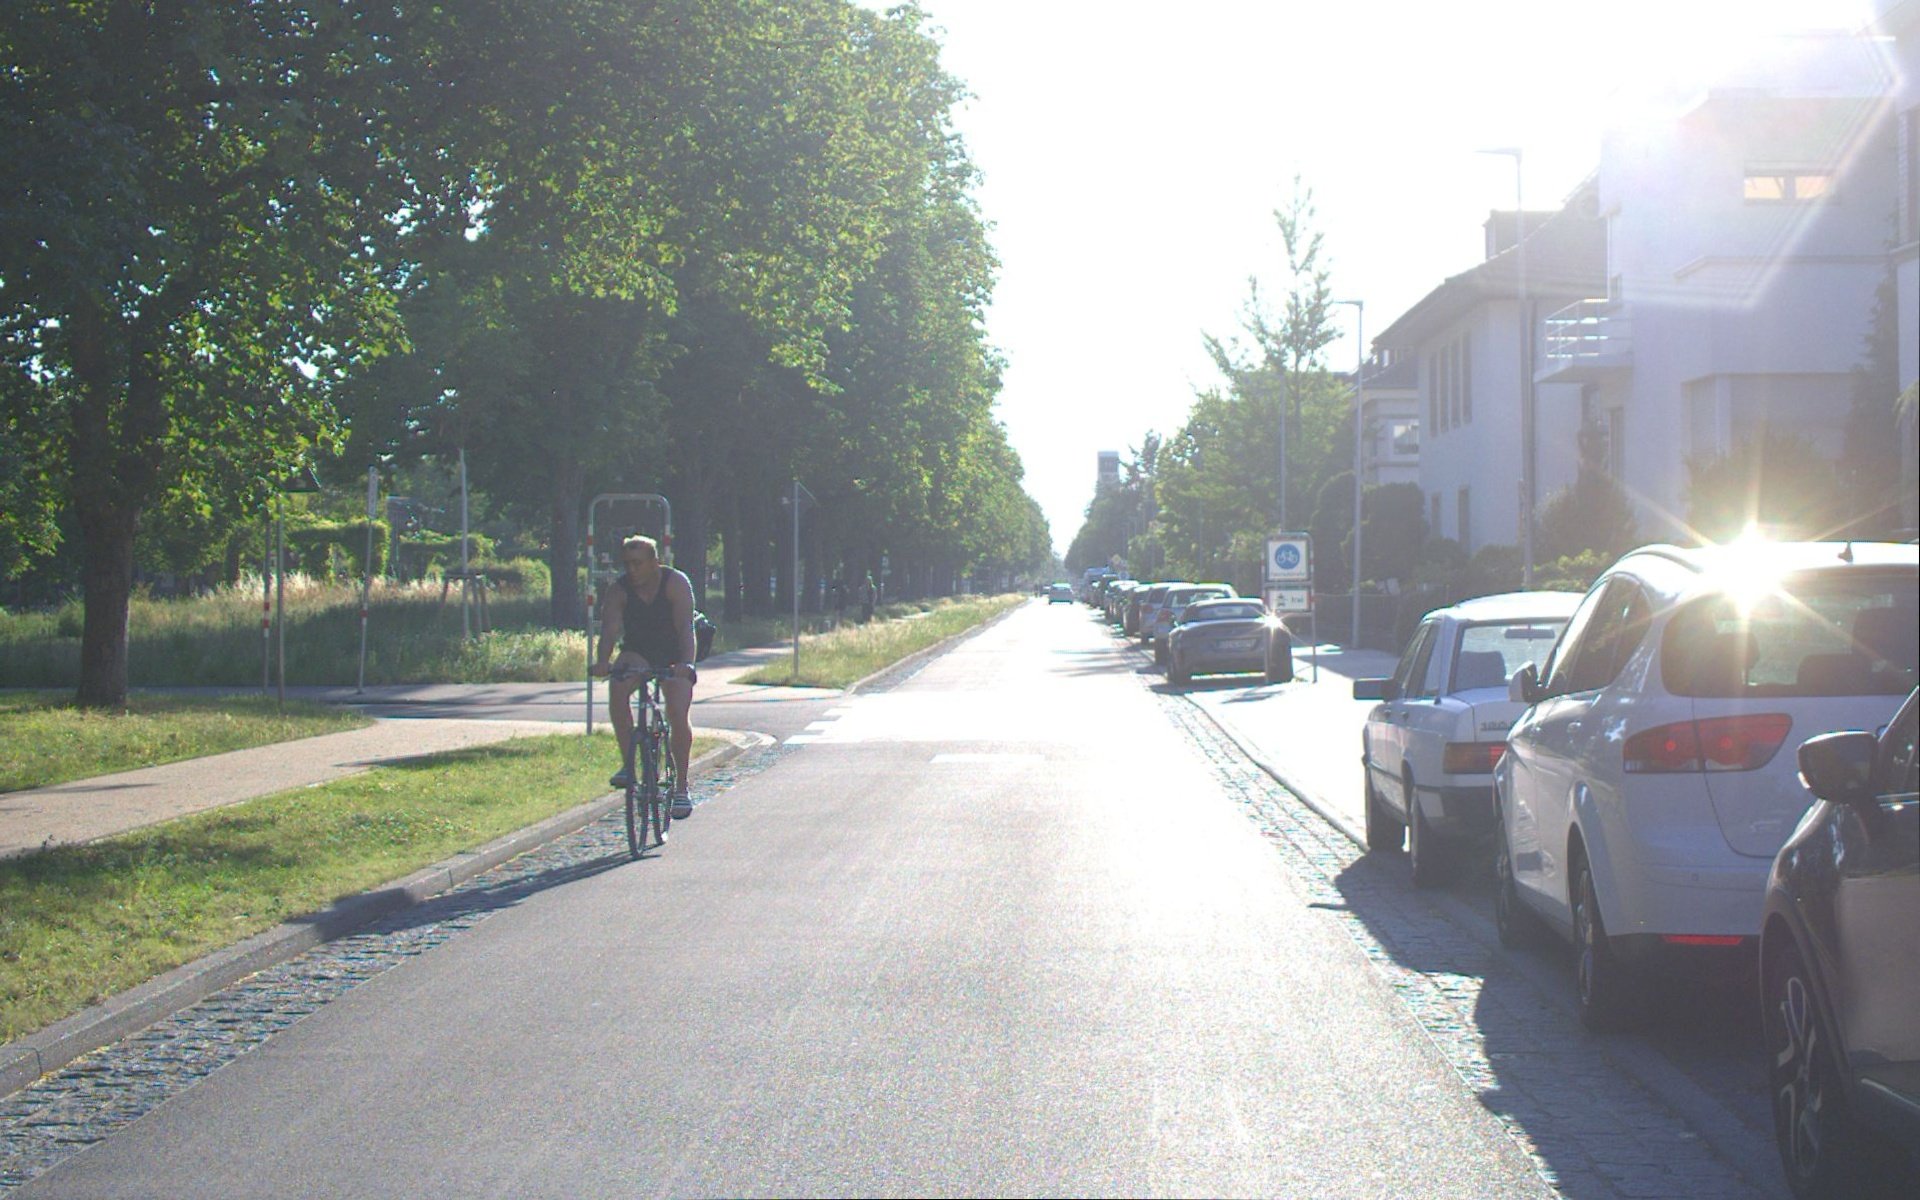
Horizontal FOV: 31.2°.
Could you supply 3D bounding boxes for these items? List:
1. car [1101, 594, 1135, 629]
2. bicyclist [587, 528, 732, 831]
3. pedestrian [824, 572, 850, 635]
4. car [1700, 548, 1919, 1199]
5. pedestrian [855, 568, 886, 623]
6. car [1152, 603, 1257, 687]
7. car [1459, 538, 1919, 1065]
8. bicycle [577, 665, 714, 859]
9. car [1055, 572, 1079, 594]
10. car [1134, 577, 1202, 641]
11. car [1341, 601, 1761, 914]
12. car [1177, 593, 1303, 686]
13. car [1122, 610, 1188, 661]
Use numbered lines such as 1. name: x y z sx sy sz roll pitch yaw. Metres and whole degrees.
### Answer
1. car: 7.114 0.508 154.438 1.498 1.561 3.266 0 0 3
2. bicyclist: -1.700 0.446 19.579 0.681 1.667 1.172 -1 -1 1
3. pedestrian: -3.563 0.091 99.879 0.624 1.825 0.886 1 0 5
4. car: 2.735 0.656 6.873 1.679 1.550 4.144 -1 0 1
5. pedestrian: -2.611 -0.137 100.150 0.783 1.609 0.951 1 0 5
6. car: 4.673 0.842 66.141 1.744 1.469 3.922 -3 0 1
7. car: 2.833 0.585 12.262 1.679 1.550 4.130 -1 0 3
8. bicycle: -1.774 0.895 19.596 0.556 1.028 1.915 0 0 1
9. car: 7.736 -1.235 248.334 1.652 1.536 3.266 1 0 2
10. car: 5.195 0.204 86.183 1.628 1.499 3.633 -1 1 3
11. car: 2.945 0.723 17.917 1.564 1.385 4.374 -1 0 2
12. car: 4.421 0.602 54.815 1.774 1.284 4.272 -2 1 2
13. car: 5.779 1.043 102.402 1.736 1.444 4.197 -1 0 1
